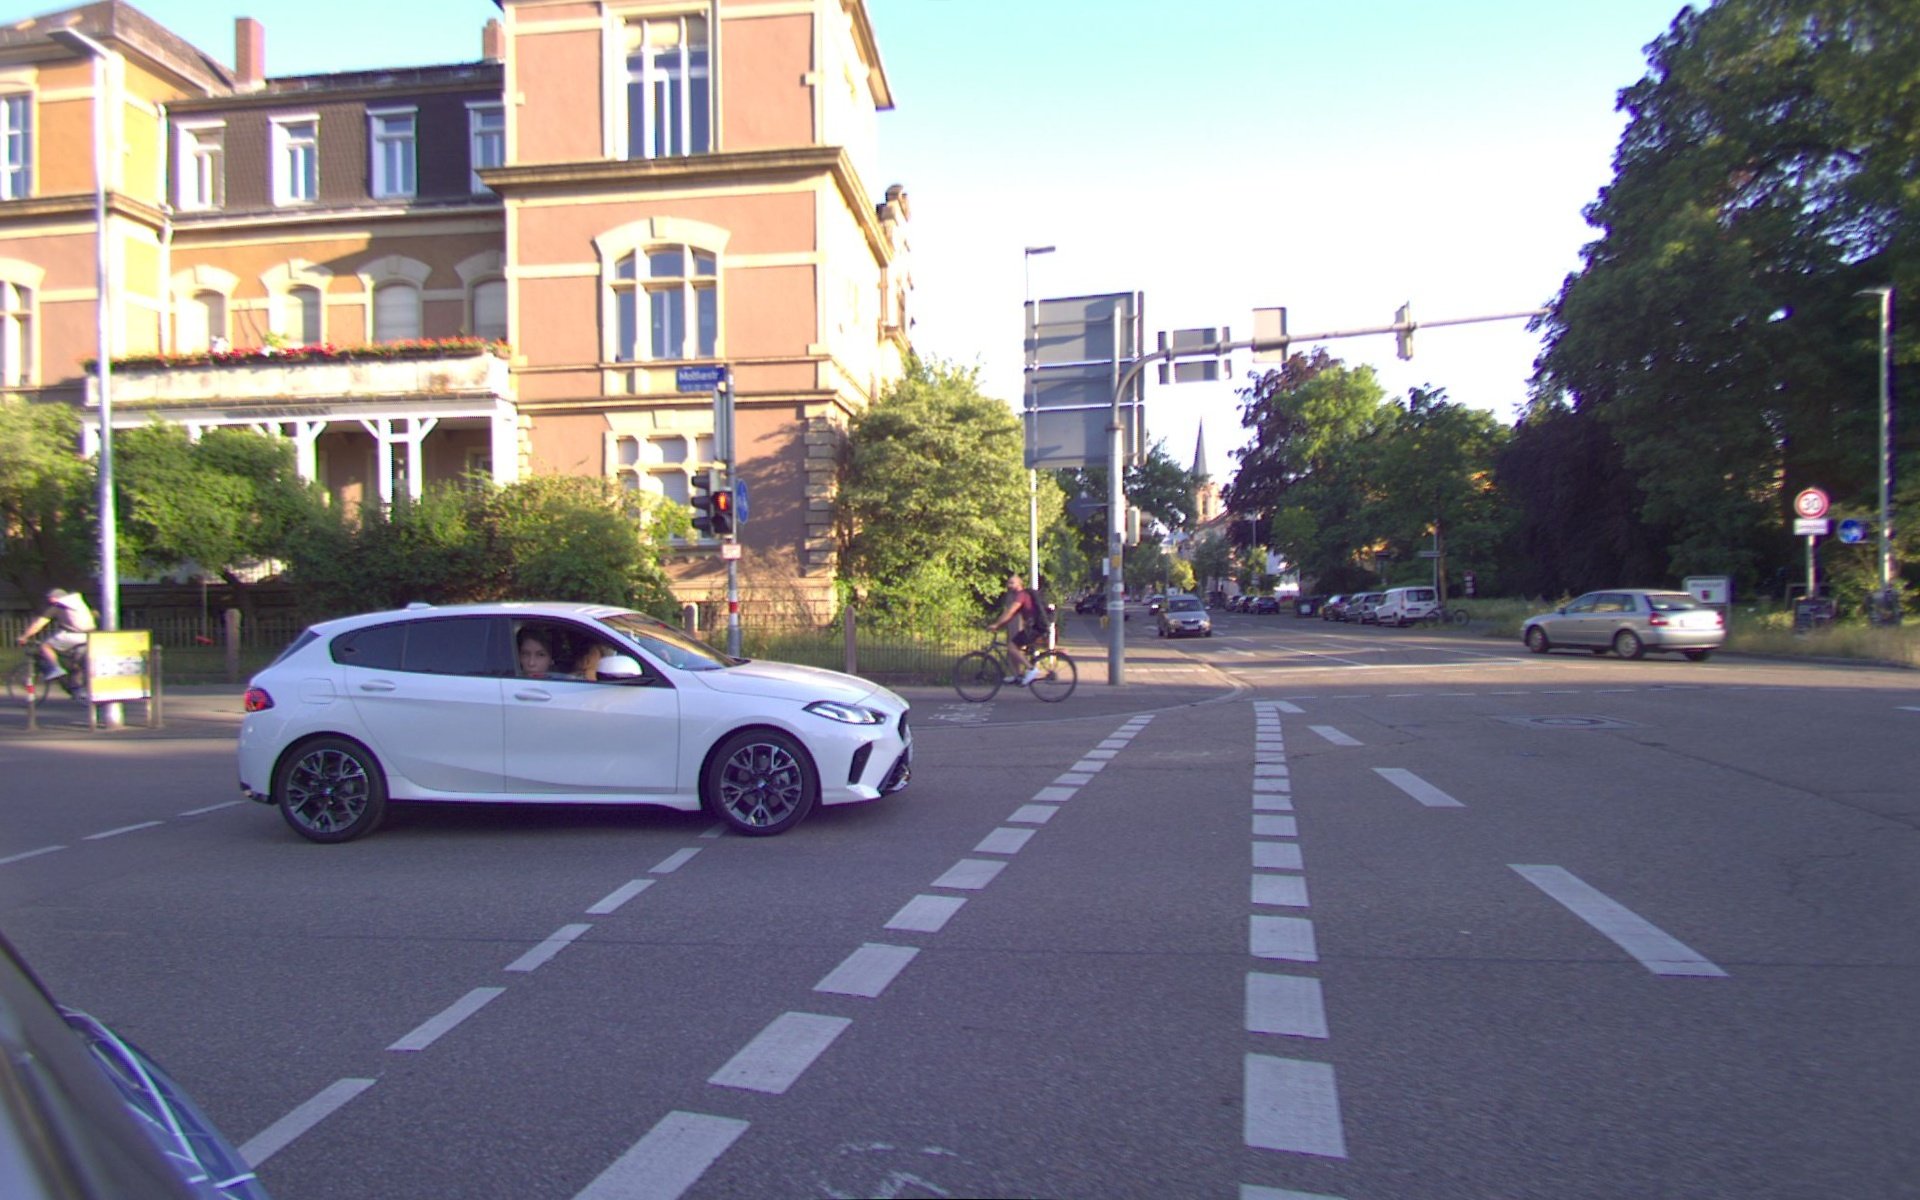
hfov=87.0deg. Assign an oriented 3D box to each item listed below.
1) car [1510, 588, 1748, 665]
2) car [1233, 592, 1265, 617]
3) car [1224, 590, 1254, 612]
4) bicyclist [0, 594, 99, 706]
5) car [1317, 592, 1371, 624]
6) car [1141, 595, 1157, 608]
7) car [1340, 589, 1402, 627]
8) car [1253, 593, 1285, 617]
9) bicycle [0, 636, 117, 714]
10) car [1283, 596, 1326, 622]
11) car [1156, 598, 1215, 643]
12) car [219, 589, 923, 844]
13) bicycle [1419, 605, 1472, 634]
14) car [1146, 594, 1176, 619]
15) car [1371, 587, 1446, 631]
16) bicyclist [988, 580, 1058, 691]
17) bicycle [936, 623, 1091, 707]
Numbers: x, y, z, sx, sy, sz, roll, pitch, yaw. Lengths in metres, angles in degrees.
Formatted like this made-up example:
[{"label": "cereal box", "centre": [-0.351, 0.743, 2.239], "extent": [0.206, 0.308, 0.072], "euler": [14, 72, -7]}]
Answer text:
[{"label": "car", "centre": [13.682, 0.502, 21.025], "extent": [1.707, 1.419, 4.148], "euler": [-1, 0, -10]}, {"label": "car", "centre": [24.590, 0.353, 86.297], "extent": [1.976, 2.028, 3.993], "euler": [0, 2, 6]}, {"label": "car", "centre": [25.221, 0.080, 91.663], "extent": [1.976, 1.829, 3.992], "euler": [0, 2, 7]}, {"label": "bicyclist", "centre": [-13.802, 0.740, 15.355], "extent": [0.903, 1.645, 0.652], "euler": [0, 1, 7]}, {"label": "car", "centre": [21.573, 0.436, 56.974], "extent": [1.915, 1.719, 3.991], "euler": [-1, 0, 7]}, {"label": "car", "centre": [26.707, 0.211, 143.141], "extent": [1.977, 1.696, 3.989], "euler": [0, 2, 9]}, {"label": "car", "centre": [21.092, 0.385, 52.139], "extent": [1.840, 1.859, 4.179], "euler": [-1, 0, 6]}, {"label": "car", "centre": [24.547, 0.368, 80.606], "extent": [1.779, 1.741, 3.991], "euler": [-1, 1, 7]}, {"label": "bicycle", "centre": [-13.988, 1.131, 15.389], "extent": [1.880, 1.097, 0.659], "euler": [-1, 2, 7]}, {"label": "car", "centre": [22.837, 0.561, 67.182], "extent": [1.915, 1.655, 3.991], "euler": [-1, 0, 7]}, {"label": "car", "centre": [8.347, 0.722, 37.700], "extent": [1.671, 1.521, 3.693], "euler": [-3, 0, 7]}, {"label": "car", "centre": [-2.371, 0.704, 6.899], "extent": [4.131, 1.477, 1.757], "euler": [-1, 0, 2]}, {"label": "bicycle", "centre": [20.058, 0.787, 41.846], "extent": [1.857, 1.165, 0.751], "euler": [0, 1, 11]}, {"label": "car", "centre": [15.762, 0.514, 79.521], "extent": [1.976, 1.829, 3.992], "euler": [0, 2, 7]}, {"label": "car", "centre": [20.339, 0.391, 46.079], "extent": [1.839, 1.859, 4.114], "euler": [-1, 0, 5]}, {"label": "bicyclist", "centre": [0.903, 0.489, 14.378], "extent": [0.944, 1.523, 0.684], "euler": [-1, 1, 6]}, {"label": "bicycle", "centre": [0.769, 0.912, 14.398], "extent": [2.142, 1.131, 0.687], "euler": [0, 1, 7]}]
